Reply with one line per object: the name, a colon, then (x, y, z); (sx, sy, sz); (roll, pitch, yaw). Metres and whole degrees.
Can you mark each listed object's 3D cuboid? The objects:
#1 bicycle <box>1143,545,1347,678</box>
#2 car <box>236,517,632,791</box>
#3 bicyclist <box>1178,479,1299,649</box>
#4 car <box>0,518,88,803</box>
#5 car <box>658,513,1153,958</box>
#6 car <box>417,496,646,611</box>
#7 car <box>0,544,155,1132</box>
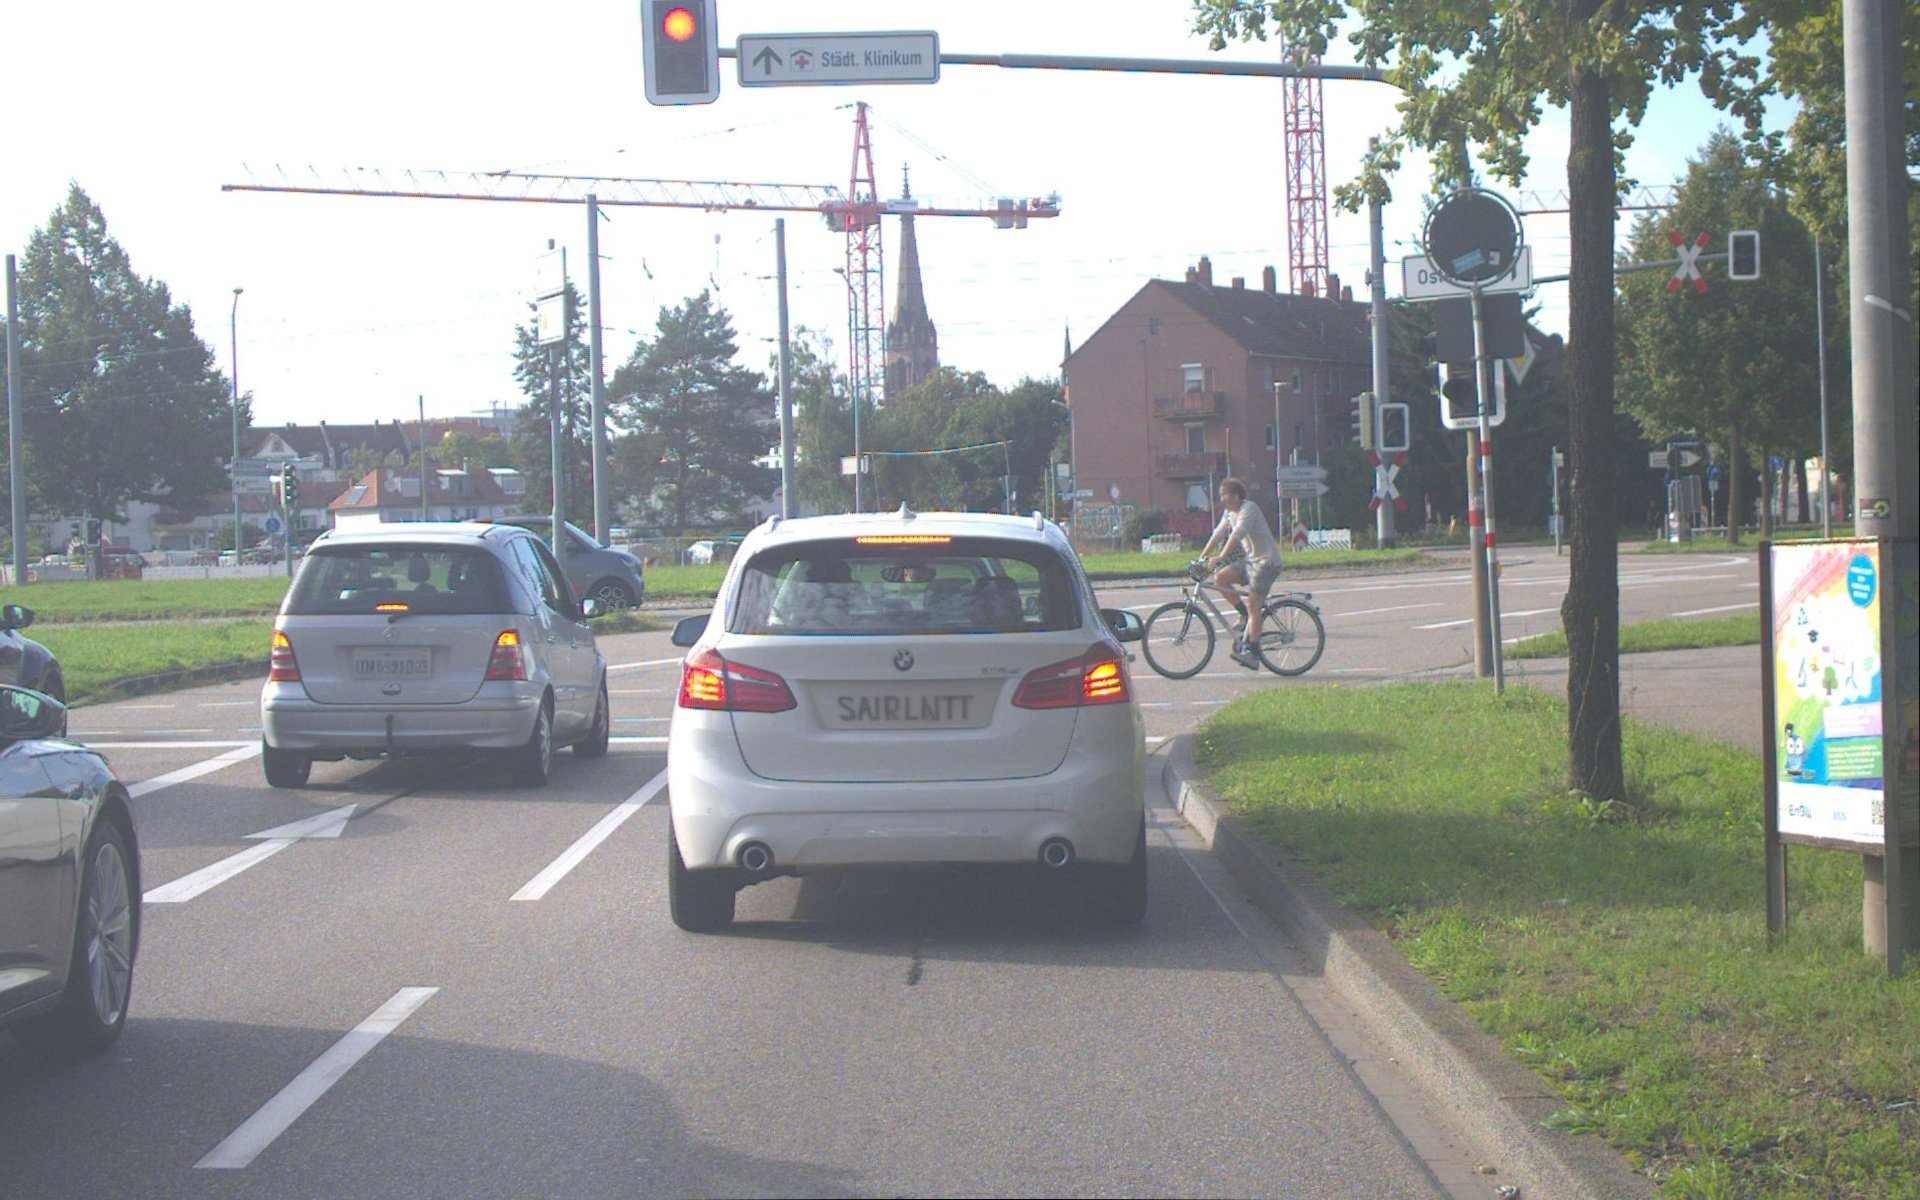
bicycle: (2.623, 0.095, 31.658); (1.725, 1.159, 0.656); (-2, 1, -16)
car: (-3.186, 0.262, 21.567); (1.729, 1.553, 4.058); (0, 1, 2)
bicyclist: (2.556, -0.336, 31.639); (0.848, 1.521, 0.741); (-2, 1, -17)
car: (-6.167, 0.341, 18.990); (1.721, 1.559, 3.878); (0, 2, 0)
car: (-0.217, 0.431, 14.121); (1.729, 1.553, 4.058); (0, 1, -1)
car: (-6.120, -0.685, 49.277); (3.187, 1.568, 1.575); (-1, 2, -6)
car: (-3.356, 0.612, 8.080); (1.890, 1.478, 4.613); (0, 1, -1)
